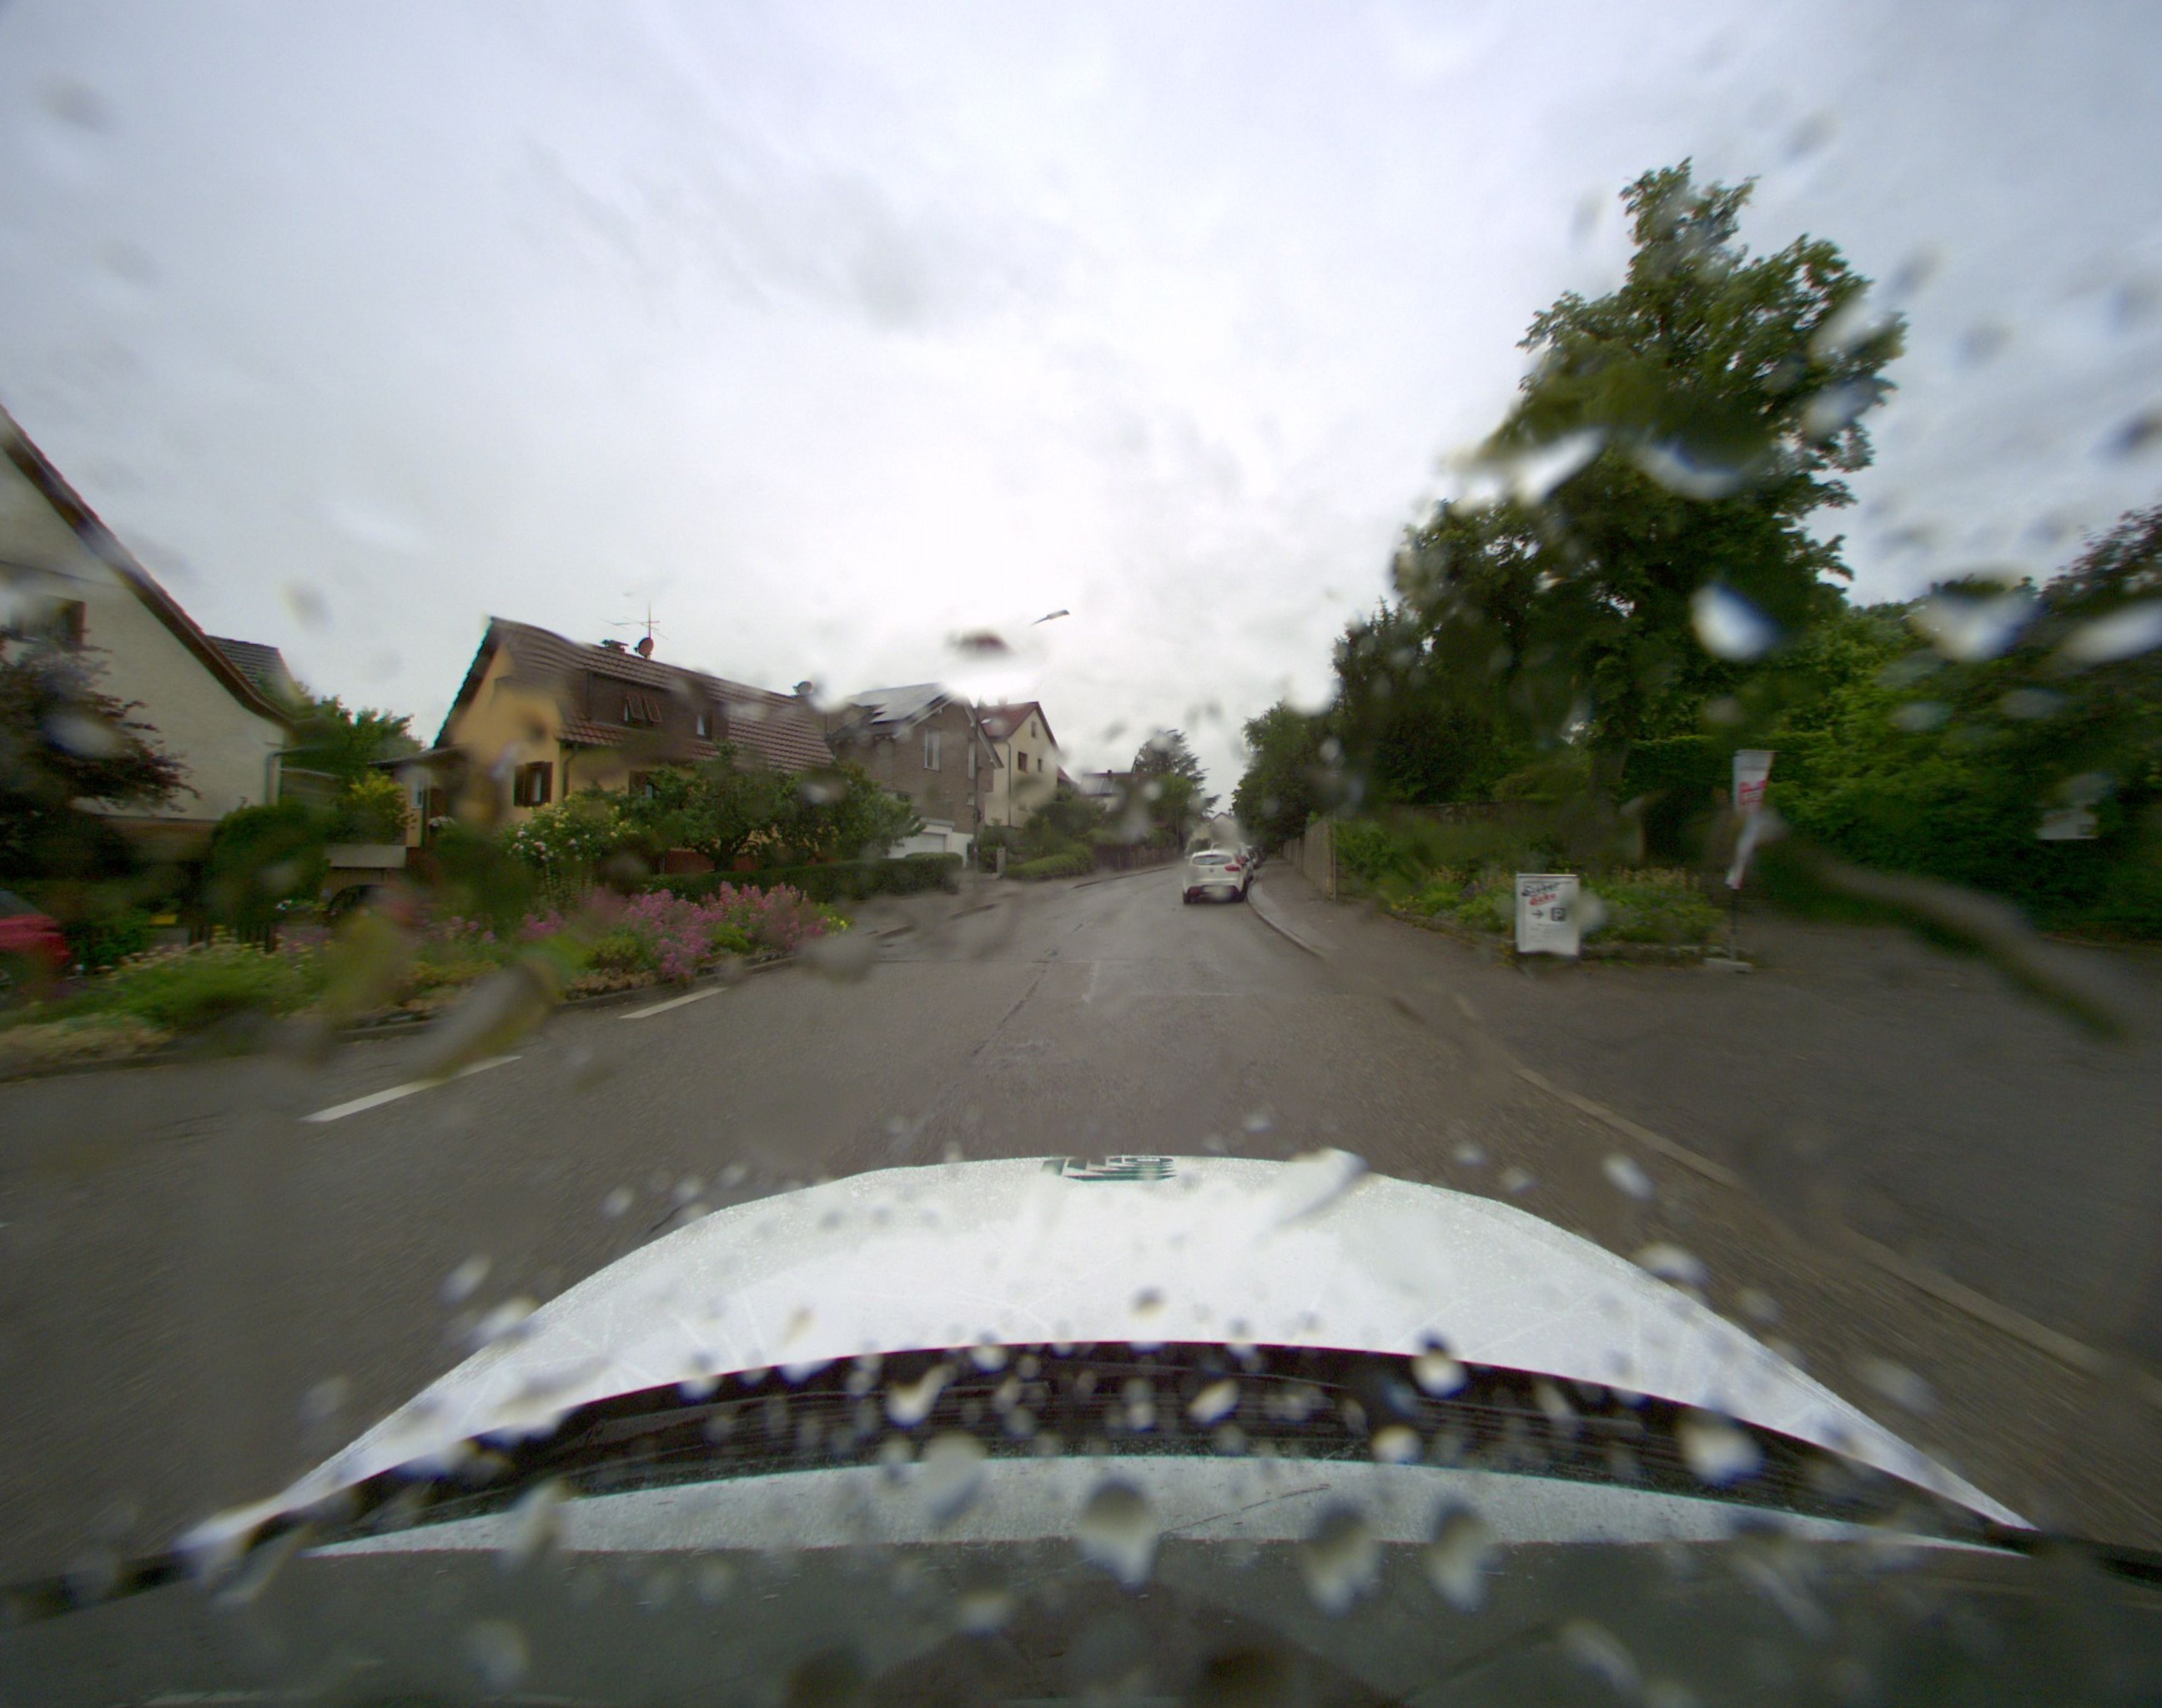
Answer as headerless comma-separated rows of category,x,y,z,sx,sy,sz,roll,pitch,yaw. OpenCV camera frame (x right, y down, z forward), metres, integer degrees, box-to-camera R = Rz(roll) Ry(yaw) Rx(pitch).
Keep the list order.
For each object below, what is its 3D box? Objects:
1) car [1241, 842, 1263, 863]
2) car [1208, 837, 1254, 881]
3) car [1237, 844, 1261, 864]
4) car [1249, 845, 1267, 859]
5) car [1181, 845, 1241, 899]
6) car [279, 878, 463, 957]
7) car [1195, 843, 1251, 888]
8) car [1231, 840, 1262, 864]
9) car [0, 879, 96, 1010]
car,14.401,-0.142,68.710,1.730,1.668,4.512,-1,0,12
car,6.520,0.194,35.125,1.625,1.741,4.151,-1,0,14
car,12.888,0.035,62.557,1.753,1.447,4.711,-1,0,11
car,17.780,-0.210,82.020,1.641,1.371,4.195,-1,0,11
car,3.974,0.487,24.442,1.601,1.480,4.051,-1,0,11
car,-14.832,1.230,16.972,3.948,1.383,1.875,-1,0,34
car,5.165,0.367,29.286,1.634,1.462,4.017,0,1,14
car,11.525,-0.112,56.504,1.801,1.573,3.896,-1,0,15
car,-14.514,1.167,9.181,1.732,1.562,4.044,-2,0,28
